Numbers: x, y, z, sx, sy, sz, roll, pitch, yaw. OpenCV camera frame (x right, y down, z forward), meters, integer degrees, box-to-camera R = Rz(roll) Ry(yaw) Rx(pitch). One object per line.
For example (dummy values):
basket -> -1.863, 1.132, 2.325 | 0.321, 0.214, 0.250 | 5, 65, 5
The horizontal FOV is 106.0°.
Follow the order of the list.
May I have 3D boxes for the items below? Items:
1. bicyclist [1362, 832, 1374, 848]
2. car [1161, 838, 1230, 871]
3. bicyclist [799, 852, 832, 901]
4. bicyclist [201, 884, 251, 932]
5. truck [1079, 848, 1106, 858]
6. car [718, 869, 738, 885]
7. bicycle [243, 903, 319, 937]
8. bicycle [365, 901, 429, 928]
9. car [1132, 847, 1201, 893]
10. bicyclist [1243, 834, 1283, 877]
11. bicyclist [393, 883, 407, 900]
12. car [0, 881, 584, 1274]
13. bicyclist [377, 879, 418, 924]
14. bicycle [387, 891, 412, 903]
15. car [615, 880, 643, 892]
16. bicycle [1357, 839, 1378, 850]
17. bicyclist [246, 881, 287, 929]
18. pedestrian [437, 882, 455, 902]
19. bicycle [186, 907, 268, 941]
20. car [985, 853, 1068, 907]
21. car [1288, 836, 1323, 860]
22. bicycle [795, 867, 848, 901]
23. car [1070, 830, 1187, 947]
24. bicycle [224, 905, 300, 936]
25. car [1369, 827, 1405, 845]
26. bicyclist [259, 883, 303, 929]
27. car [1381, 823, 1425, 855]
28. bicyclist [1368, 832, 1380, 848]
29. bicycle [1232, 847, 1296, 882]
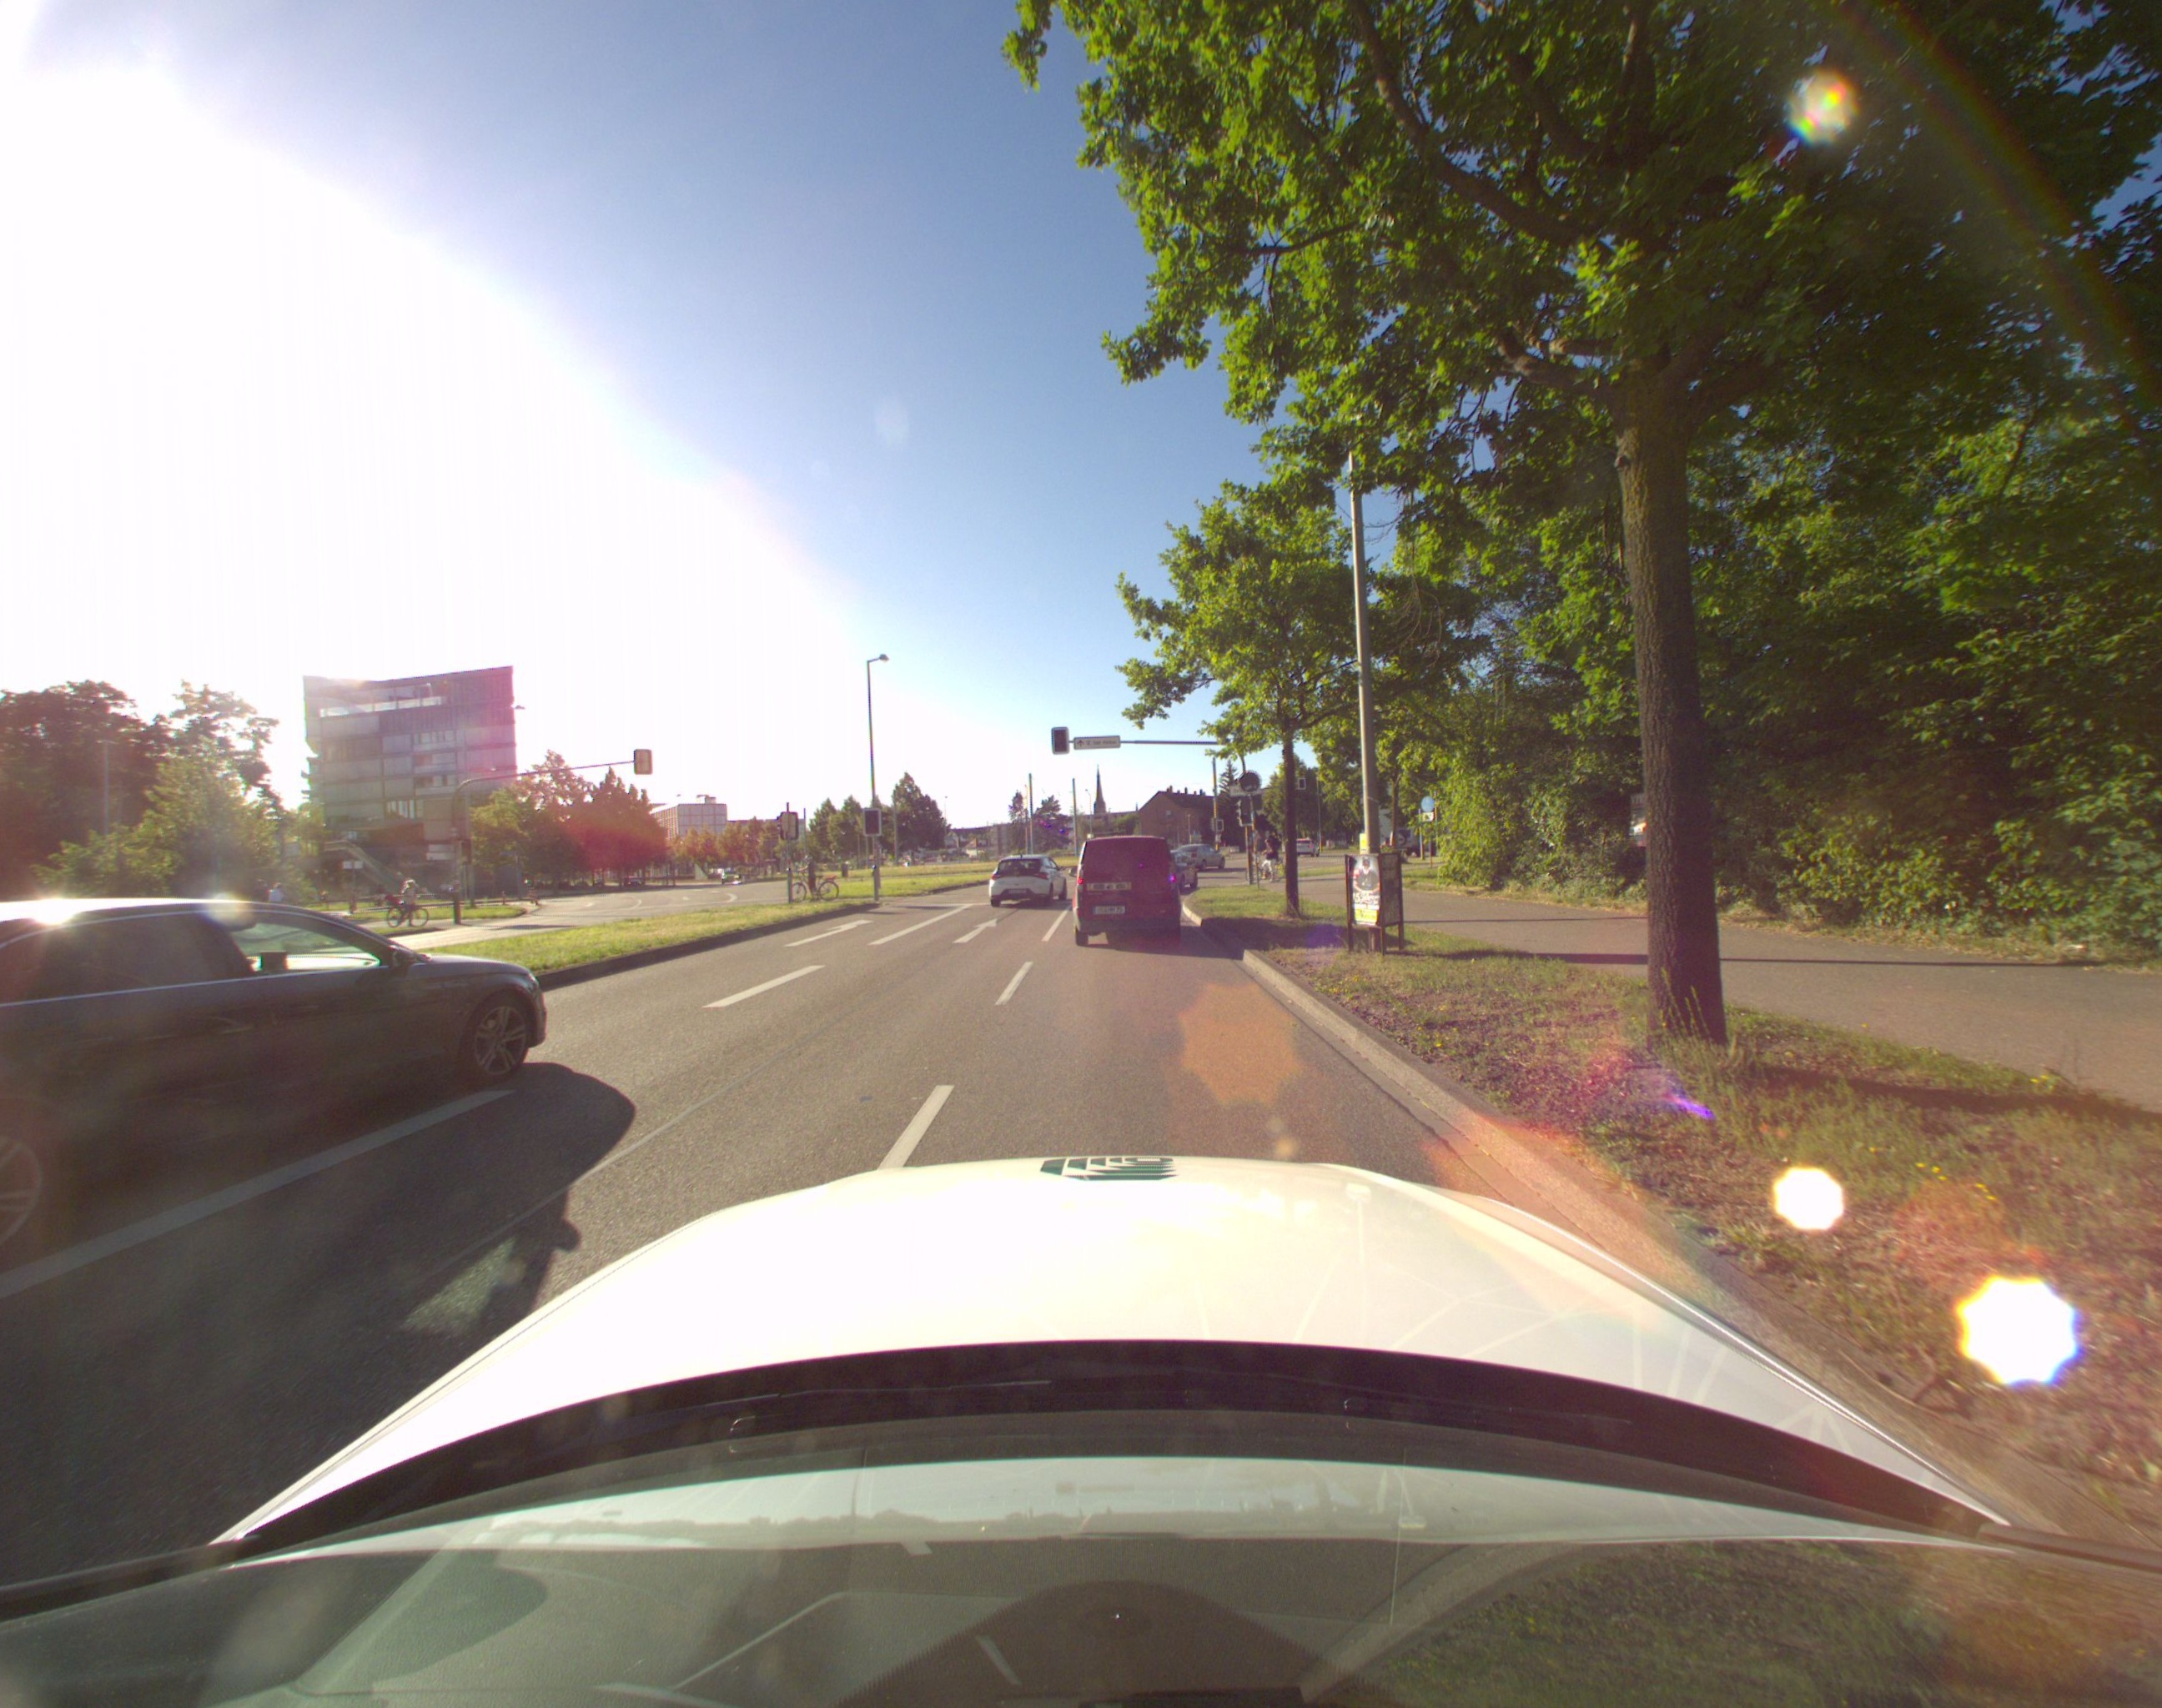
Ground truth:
bicyclist -> 34.011, -1.647, 96.431 | 0.888, 1.852, 1.015 | 0, -1, -32
car -> 6.432, 0.012, 45.223 | 1.974, 1.575, 4.437 | -3, 1, 34
bicyclist -> -9.411, 0.784, 28.902 | 0.939, 1.663, 0.702 | -2, -1, -8
bicyclist -> -26.472, 1.669, 25.236 | 0.614, 1.392, 0.836 | -3, 0, -5
truck -> 2.370, -0.180, 168.442 | 2.181, 2.014, 6.364 | 0, -1, -37
car -> -40.059, 2.585, 92.377 | 2.012, 1.541, 4.290 | -3, 0, -24
bicycle -> -25.337, 2.075, 25.833 | 0.614, 0.852, 1.886 | -3, 0, -5
bicycle -> -24.526, 2.172, 29.204 | 1.872, 0.852, 0.619 | -3, 0, 8
car -> 3.129, 0.524, 29.192 | 1.701, 1.436, 4.169 | -3, 0, 16
bicyclist -> 6.949, 0.064, 31.140 | 1.088, 1.562, 0.870 | -4, -1, -21
bicyclist -> -65.292, 3.616, 78.057 | 0.825, 1.580, 0.665 | -3, 0, 18
car -> -4.955, 0.937, 4.335 | 1.753, 1.380, 4.361 | -2, 0, 2
bicyclist -> -24.496, 1.706, 29.201 | 0.917, 1.517, 0.619 | -3, 0, 8
bicycle -> -65.276, 4.132, 78.026 | 2.237, 0.988, 0.665 | -3, 0, 18
car -> -72.940, 5.175, 131.444 | 4.950, 1.785, 2.478 | -3, 0, 42
bicycle -> 33.956, -1.117, 96.528 | 0.888, 1.265, 2.187 | 0, -1, -32
bicyclist -> -27.913, 1.728, 27.925 | 0.429, 1.564, 0.853 | -3, 0, 6
pedestrian -> -52.737, 3.140, 67.617 | 0.885, 1.629, 0.756 | -3, 0, -19
bicycle -> -26.435, 2.154, 25.242 | 0.614, 0.852, 1.886 | -3, 0, -5
car -> -1.532, 0.716, 24.299 | 1.793, 1.461, 3.817 | -1, 0, 7
car -> 17.639, -0.499, 63.947 | 1.976, 1.639, 4.433 | -3, 1, 23
bicycle -> -9.205, 1.045, 28.936 | 1.649, 1.128, 0.702 | -2, -1, -8
car -> 0.855, 0.540, 14.667 | 1.795, 1.813, 3.813 | -1, 0, 3
bicycle -> -27.900, 2.242, 27.793 | 0.487, 0.852, 1.892 | -3, 0, 6
car -> 29.392, -1.690, 78.327 | 1.985, 1.539, 4.411 | -3, 1, 3
bicyclist -> -25.323, 1.636, 25.776 | 0.614, 1.392, 0.718 | -3, 0, -5
car -> 20.810, -0.906, 52.749 | 1.982, 1.897, 4.771 | -3, -1, 14
bicyclist -> 35.070, -1.651, 97.597 | 0.888, 1.852, 1.015 | 0, -1, -32
bicycle -> 6.990, 0.392, 31.149 | 2.218, 1.155, 0.870 | -4, -1, -22
